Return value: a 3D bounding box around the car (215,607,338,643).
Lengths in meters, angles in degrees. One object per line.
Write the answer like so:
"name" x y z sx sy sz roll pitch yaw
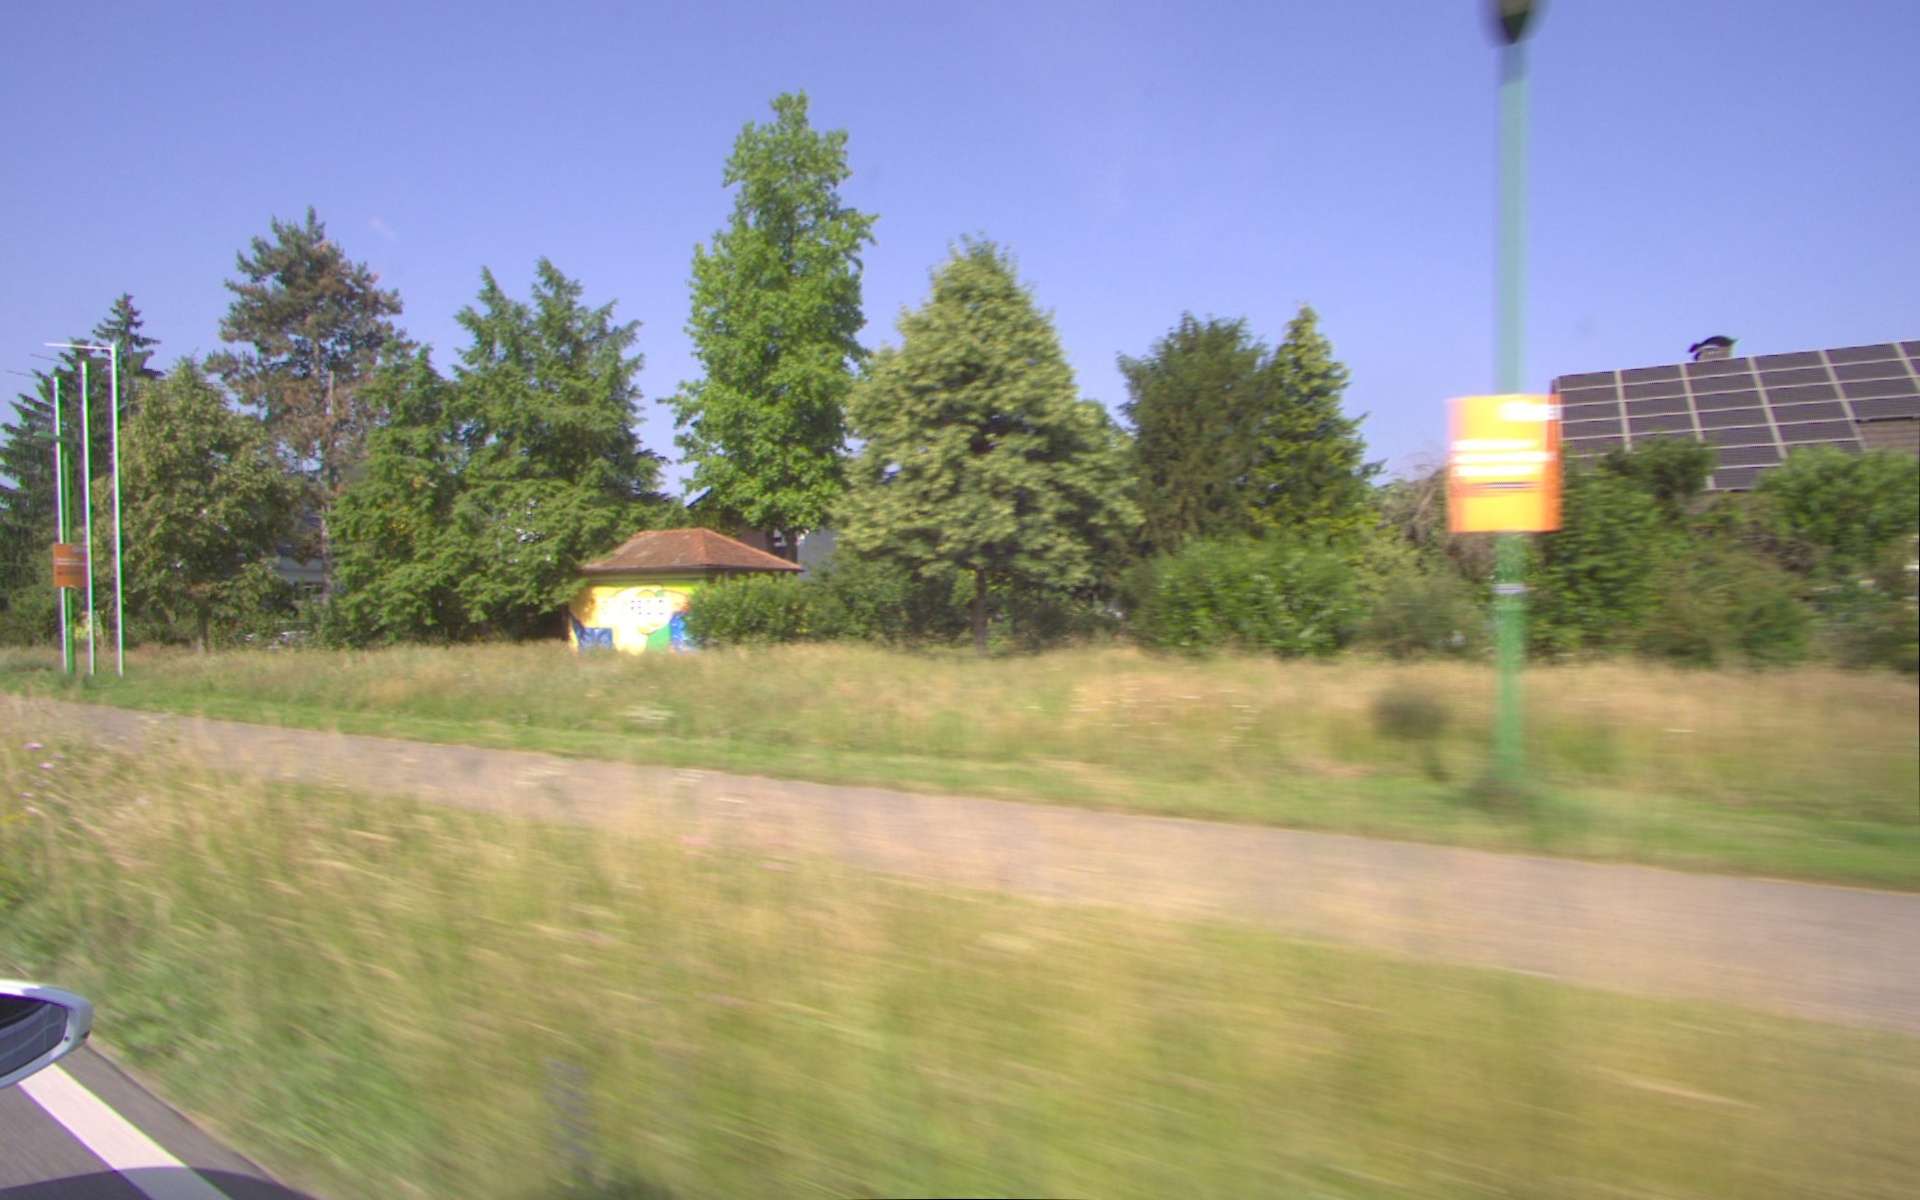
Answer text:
"car" -29.074 1.023 42.722 1.786 1.453 3.986 0 0 26
